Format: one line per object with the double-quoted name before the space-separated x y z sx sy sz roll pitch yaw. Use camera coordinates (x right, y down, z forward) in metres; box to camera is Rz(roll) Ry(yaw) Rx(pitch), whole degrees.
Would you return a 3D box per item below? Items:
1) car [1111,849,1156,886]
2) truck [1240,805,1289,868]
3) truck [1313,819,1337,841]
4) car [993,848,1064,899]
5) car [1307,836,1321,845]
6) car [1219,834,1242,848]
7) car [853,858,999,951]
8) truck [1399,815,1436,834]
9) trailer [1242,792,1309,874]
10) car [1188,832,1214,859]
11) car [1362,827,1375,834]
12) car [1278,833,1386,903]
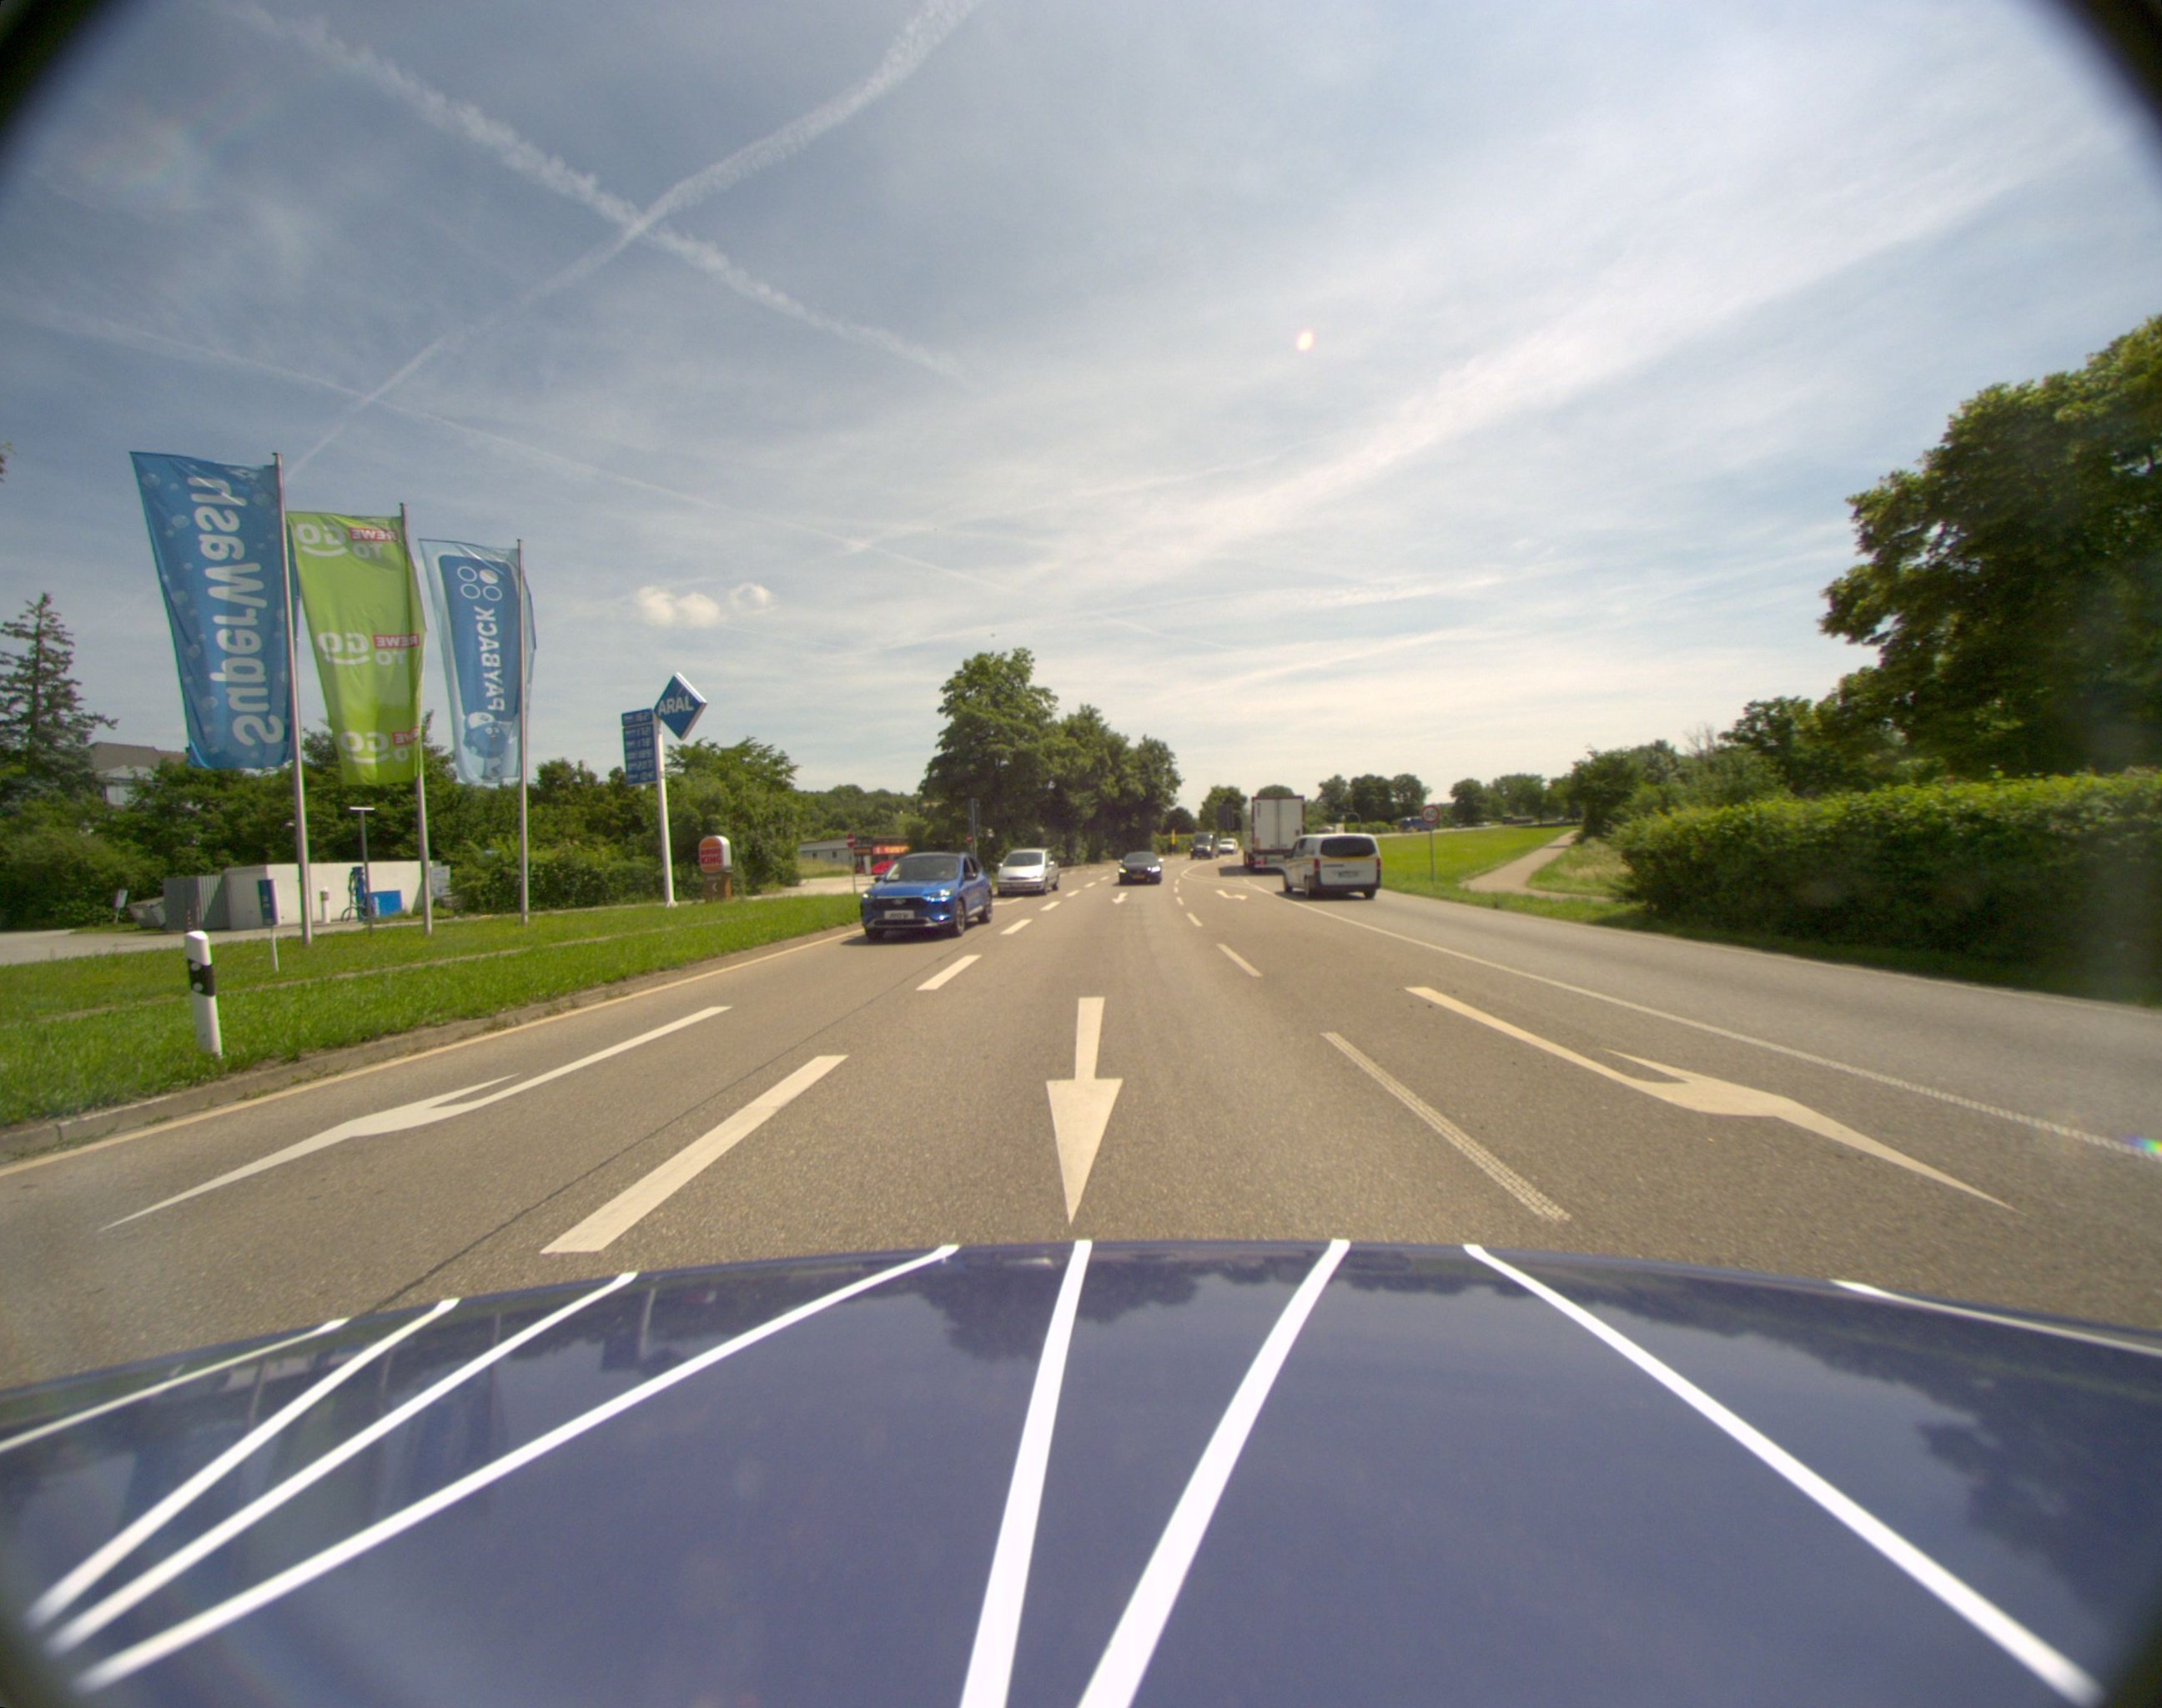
"car" 2.424 0.560 34.054 1.782 1.484 4.159 -2 0 6
"truck" 12.149 -1.136 50.660 2.783 3.921 5.708 0 1 9
"truck" 41.653 -4.125 129.579 2.971 3.550 6.908 -1 2 24
"car" -1.884 0.670 28.858 1.864 1.682 4.527 -2 1 6
"car" 45.938 -2.645 149.684 1.806 1.722 4.007 -3 -1 29
"car" 17.569 -1.518 88.954 1.780 1.484 4.163 -1 1 23
"car" -3.053 0.930 15.949 1.782 1.549 4.389 -2 0 4
"truck" 89.969 -7.932 202.856 16.189 4.583 2.738 -4 2 -43
"trailer" 10.976 -1.132 43.836 2.783 4.078 11.667 0 1 10
"car" 11.569 -0.831 73.396 1.980 2.505 4.157 -2 1 4
"car" 70.884 -5.792 187.146 1.779 1.484 4.165 -1 2 40
"car" 7.421 0.354 23.034 1.877 1.854 5.142 -2 1 4
